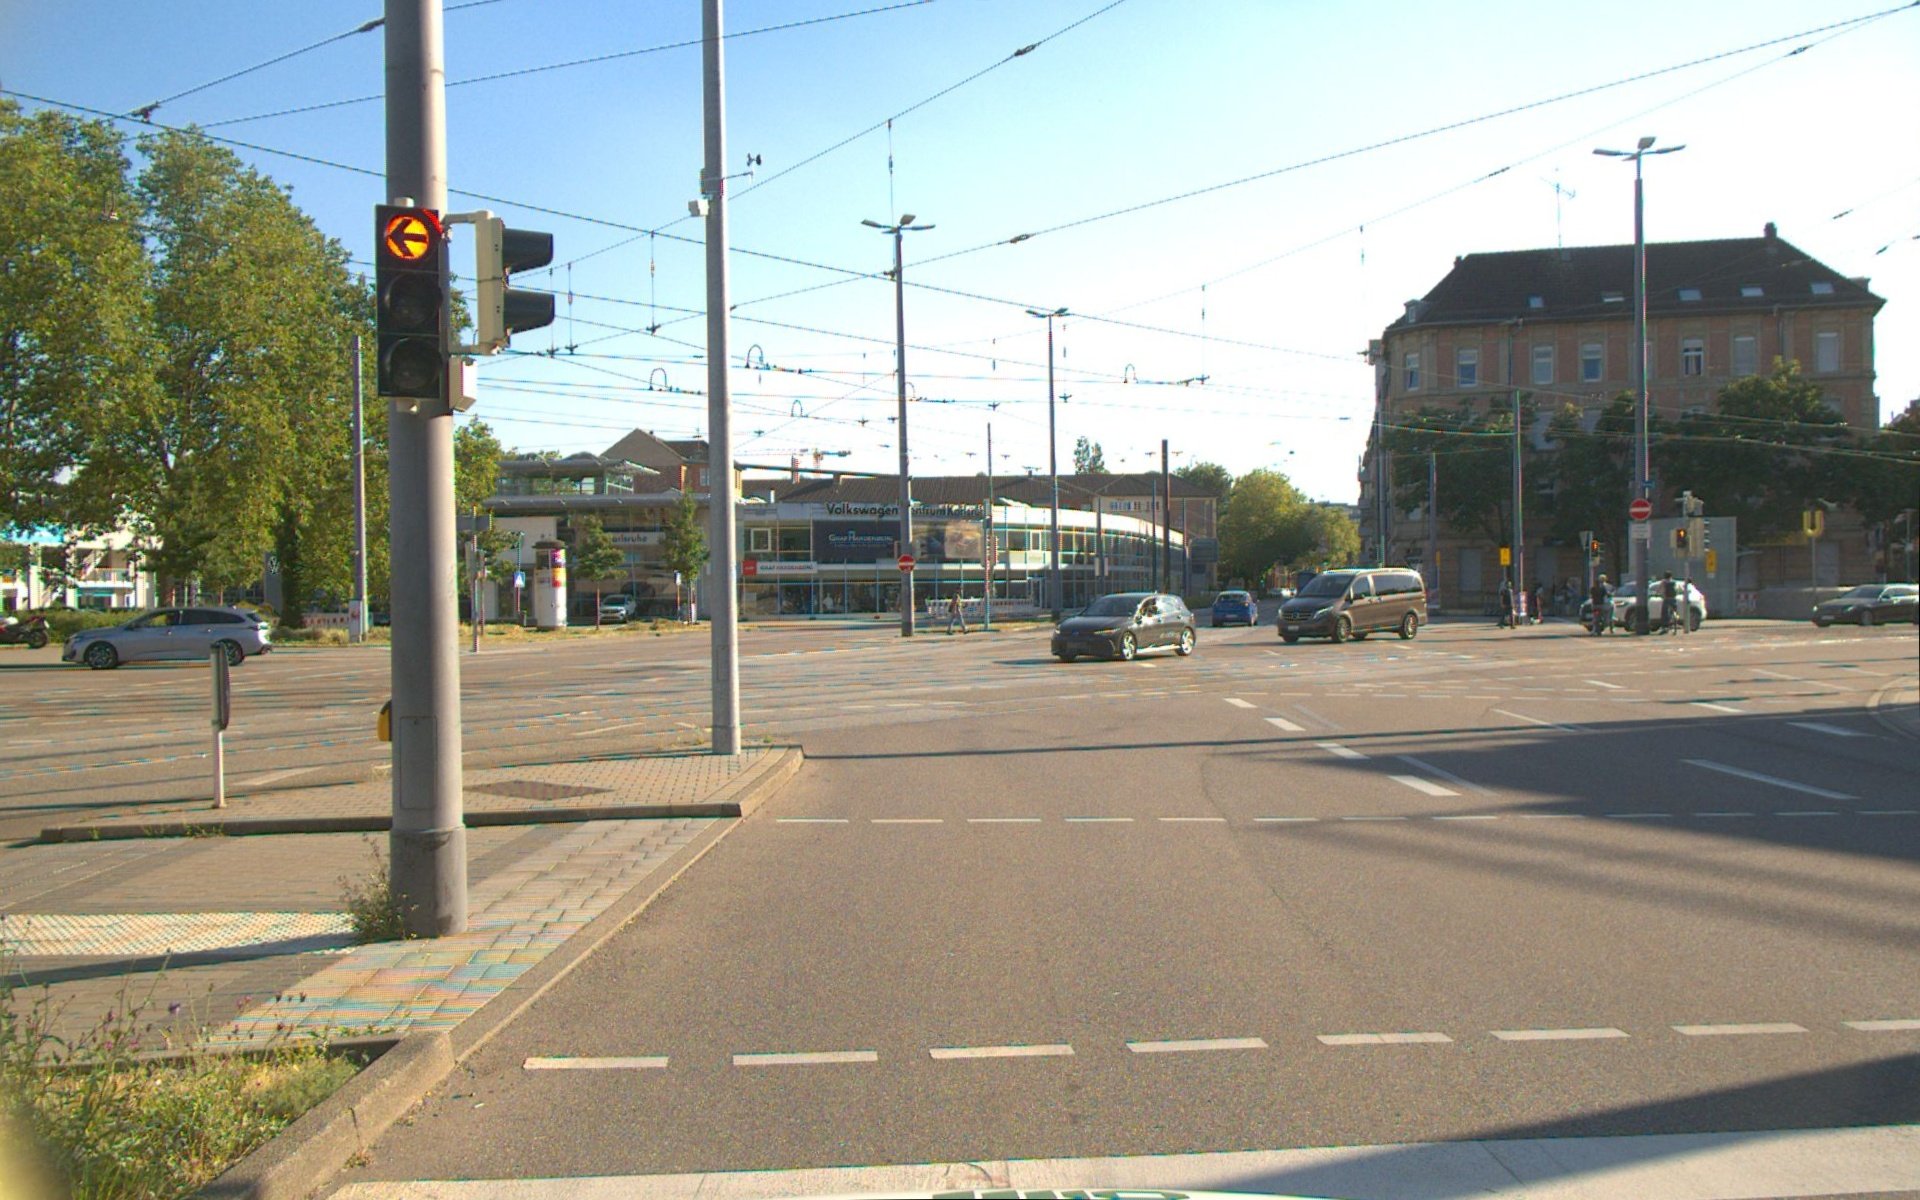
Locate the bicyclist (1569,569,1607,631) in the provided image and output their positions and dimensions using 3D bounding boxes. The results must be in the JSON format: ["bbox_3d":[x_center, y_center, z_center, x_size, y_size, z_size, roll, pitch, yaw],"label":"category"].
[{"bbox_3d":[18.423,-0.004,48.523,0.577,1.809,0.857,-1,0,-32],"label":"bicyclist"}]

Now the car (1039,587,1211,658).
[{"bbox_3d":[3.797,0.479,37.560,1.918,1.512,4.080,-1,0,41],"label":"car"}]

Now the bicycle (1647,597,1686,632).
[{"bbox_3d":[20.833,0.425,48.806,0.839,0.921,2.305,1,2,19],"label":"bicycle"}]

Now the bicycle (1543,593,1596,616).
[{"bbox_3d":[27.068,0.189,73.481,2.266,0.996,0.854,-1,2,-25],"label":"bicycle"}]

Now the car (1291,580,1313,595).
[{"bbox_3d":[40.879,-1.468,197.642,1.765,1.684,3.917,0,2,-2],"label":"car"}]

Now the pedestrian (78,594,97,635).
[{"bbox_3d":[-44.258,0.717,83.934,0.576,2.049,0.710,-1,0,-1],"label":"pedestrian"}]

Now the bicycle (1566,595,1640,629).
[{"bbox_3d":[19.023,0.343,48.909,2.274,0.921,0.851,-1,2,-32],"label":"bicycle"}]

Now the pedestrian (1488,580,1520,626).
[{"bbox_3d":[20.442,0.093,62.183,0.905,1.705,0.782,-1,0,-1],"label":"pedestrian"}]

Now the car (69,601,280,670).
[{"bbox_3d":[-18.938,0.824,40.129,4.481,1.544,1.940,-1,0,-23],"label":"car"}]

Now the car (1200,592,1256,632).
[{"bbox_3d":[11.294,0.483,69.909,1.906,1.622,4.619,-1,0,4],"label":"car"}]

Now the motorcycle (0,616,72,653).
[{"bbox_3d":[-28.223,1.045,50.077,2.246,1.072,0.685,0,2,-14],"label":"motorcycle"}]

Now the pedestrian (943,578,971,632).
[{"bbox_3d":[-0.112,0.164,58.148,0.969,1.848,0.920,0,2,-3],"label":"pedestrian"}]

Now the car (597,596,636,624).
[{"bbox_3d":[-20.816,0.580,100.445,1.955,1.561,3.995,0,2,-6],"label":"car"}]

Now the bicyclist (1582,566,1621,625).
[{"bbox_3d":[18.951,-0.137,48.889,0.643,1.720,0.851,-1,2,-32],"label":"bicyclist"}]

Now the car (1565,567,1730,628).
[{"bbox_3d":[21.947,-0.083,52.811,4.761,1.830,1.943,-1,0,-19],"label":"car"}]

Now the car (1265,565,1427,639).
[{"bbox_3d":[10.717,0.030,45.751,4.807,1.926,1.925,-1,0,-41],"label":"car"}]

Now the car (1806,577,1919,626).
[{"bbox_3d":[31.797,0.014,57.616,4.288,1.590,1.937,-1,2,-25],"label":"car"}]

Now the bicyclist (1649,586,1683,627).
[{"bbox_3d":[20.821,0.187,48.785,0.839,1.197,0.715,1,2,19],"label":"bicyclist"}]
